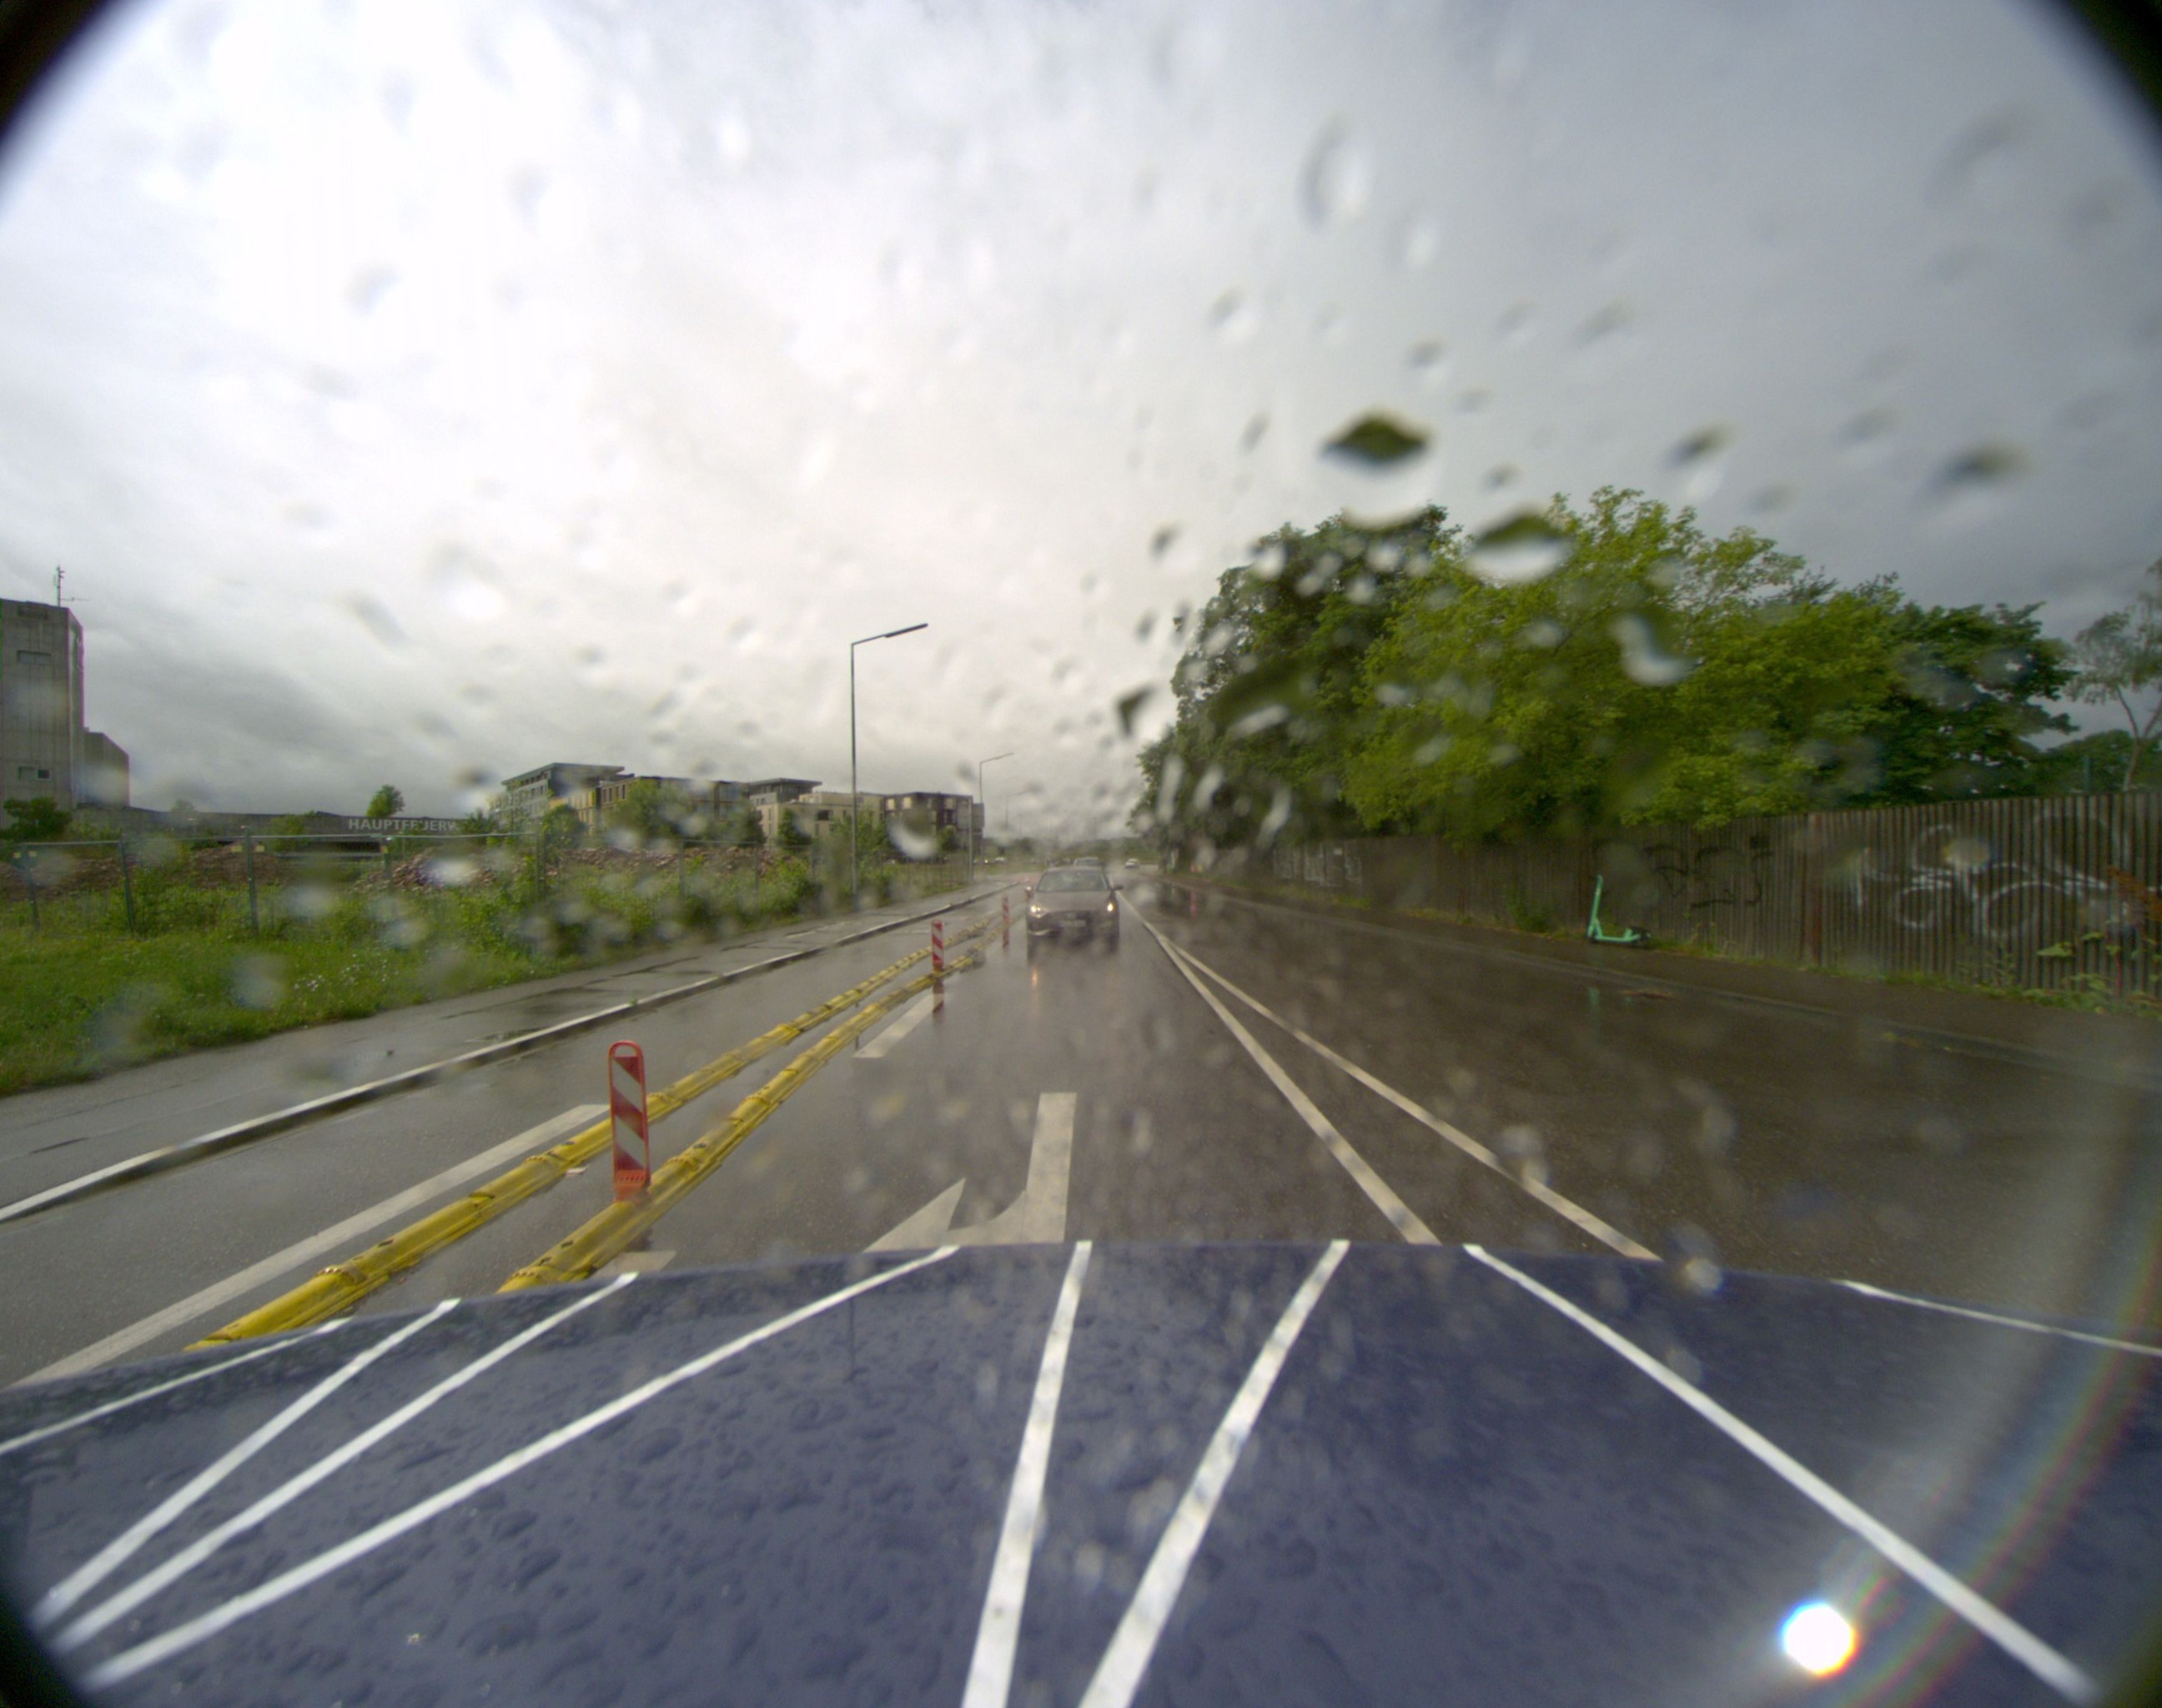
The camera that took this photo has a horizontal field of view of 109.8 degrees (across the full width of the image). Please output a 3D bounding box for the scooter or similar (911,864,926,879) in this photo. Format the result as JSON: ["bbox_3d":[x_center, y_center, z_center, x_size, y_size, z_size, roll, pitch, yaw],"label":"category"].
[{"bbox_3d":[-12.871,1.377,60.084,1.191,1.143,0.484,0,1,34],"label":"scooter or similar"}]

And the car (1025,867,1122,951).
[{"bbox_3d":[-0.187,1.031,15.713,1.724,1.423,3.818,-1,0,-2],"label":"car"}]

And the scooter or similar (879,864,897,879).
[{"bbox_3d":[-15.524,1.419,61.143,1.191,1.143,0.748,0,0,34],"label":"scooter or similar"}]

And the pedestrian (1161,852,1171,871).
[{"bbox_3d":[7.719,0.679,69.048,0.841,1.759,0.644,0,1,1],"label":"pedestrian"}]

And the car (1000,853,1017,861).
[{"bbox_3d":[-19.144,0.873,200.270,4.008,2.002,1.994,-1,0,-43],"label":"car"}]

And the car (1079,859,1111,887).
[{"bbox_3d":[0.750,1.059,43.716,1.734,1.539,3.770,-1,0,0],"label":"car"}]

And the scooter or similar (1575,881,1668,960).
[{"bbox_3d":[8.628,1.031,12.177,0.564,1.156,1.207,-1,0,-6],"label":"scooter or similar"}]

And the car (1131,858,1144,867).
[{"bbox_3d":[10.283,1.566,138.430,1.795,1.623,3.822,-1,0,12],"label":"car"}]
